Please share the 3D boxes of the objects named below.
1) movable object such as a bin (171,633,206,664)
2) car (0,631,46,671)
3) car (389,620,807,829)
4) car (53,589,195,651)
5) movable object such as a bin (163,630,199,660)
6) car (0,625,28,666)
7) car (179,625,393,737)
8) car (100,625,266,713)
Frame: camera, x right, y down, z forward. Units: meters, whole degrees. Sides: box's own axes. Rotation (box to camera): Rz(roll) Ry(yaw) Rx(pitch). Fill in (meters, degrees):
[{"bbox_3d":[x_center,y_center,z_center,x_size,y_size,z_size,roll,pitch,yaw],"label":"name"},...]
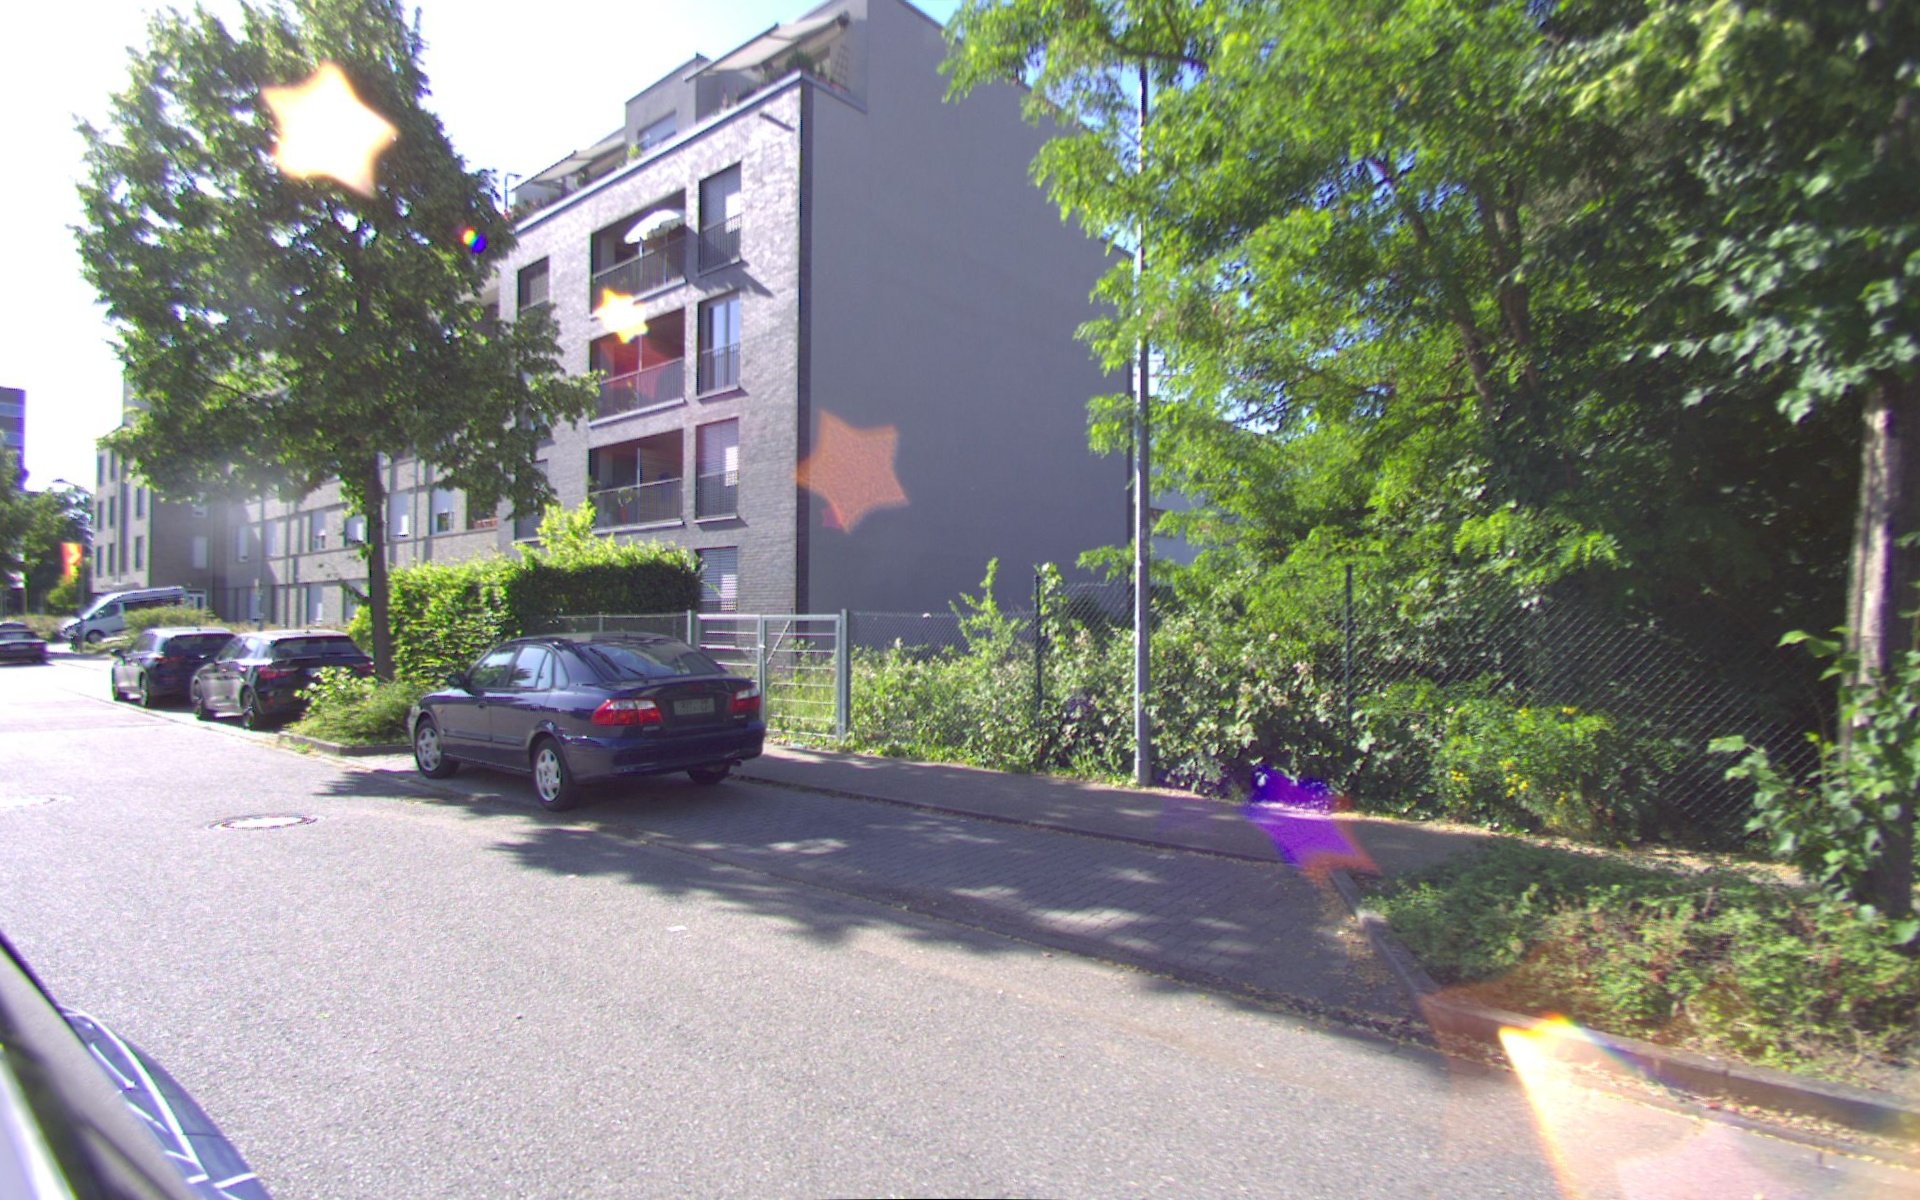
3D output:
[{"bbox_3d":[-28.367,1.772,37.223,0.677,1.045,0.852,-1,1,38],"label":"movable object such as a bin"},{"bbox_3d":[-33.345,1.757,35.440,3.561,1.257,1.610,-1,1,42],"label":"car"},{"bbox_3d":[-3.580,0.960,9.579,4.357,1.485,1.821,-1,0,41],"label":"car"},{"bbox_3d":[-41.743,1.023,50.653,2.011,2.924,5.091,-1,-2,37],"label":"car"},{"bbox_3d":[-28.983,1.654,37.658,0.680,1.045,0.910,-1,1,38],"label":"movable object such as a bin"},{"bbox_3d":[-37.345,1.722,39.053,3.560,1.536,1.610,-2,-3,40],"label":"car"},{"bbox_3d":[-10.747,1.165,16.032,4.025,1.485,1.821,-1,0,41],"label":"car"},{"bbox_3d":[-15.419,1.275,20.014,4.097,1.485,1.821,-1,0,41],"label":"car"}]
